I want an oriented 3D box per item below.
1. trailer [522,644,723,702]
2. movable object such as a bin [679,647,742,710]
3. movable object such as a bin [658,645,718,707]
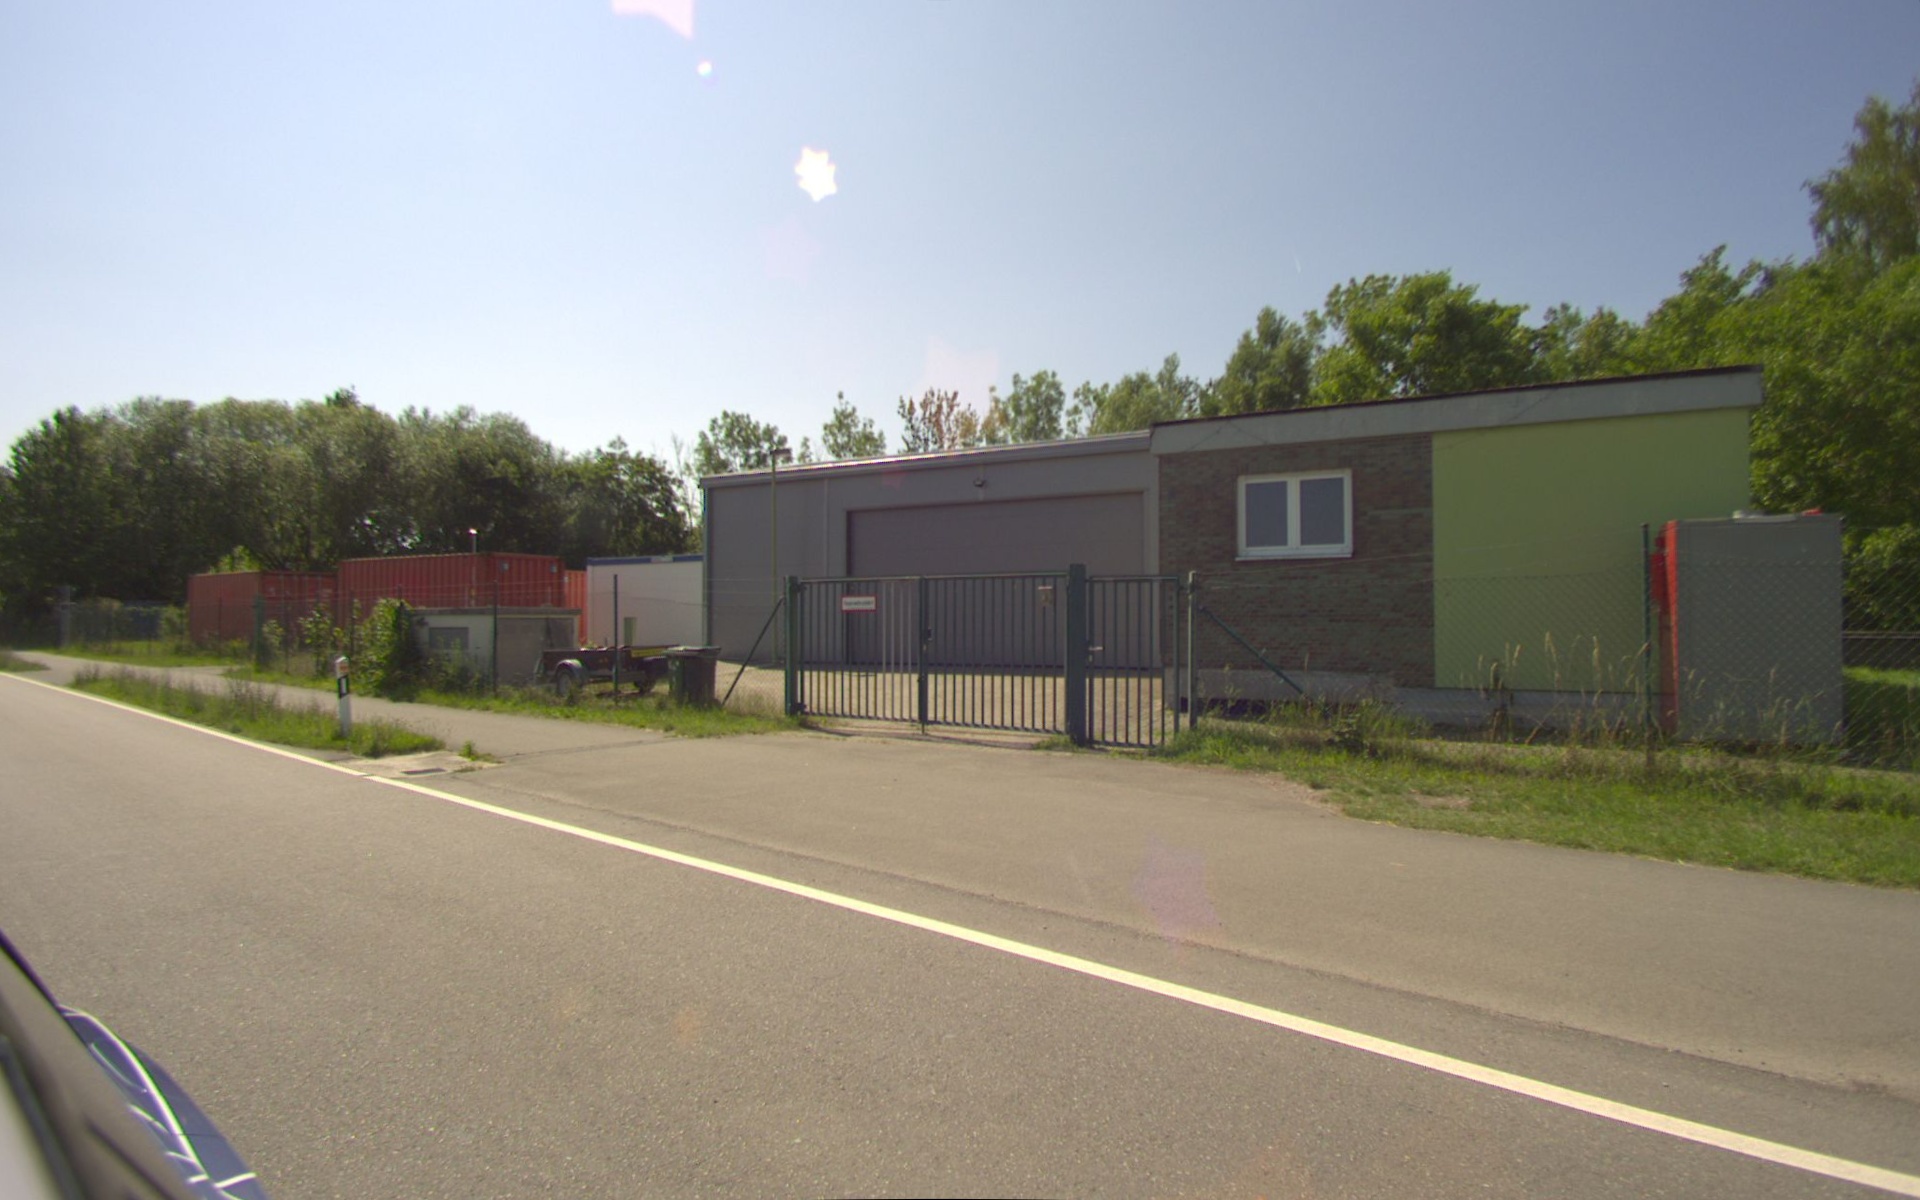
[{"bbox_3d":[-5.819,1.207,17.358,3.350,0.873,1.616,-1,-2,35],"label":"trailer"},{"bbox_3d":[-3.593,1.114,14.576,0.631,0.861,0.654,2,-3,-43],"label":"movable object such as a bin"},{"bbox_3d":[-4.054,1.116,15.079,0.631,0.882,0.654,2,-3,-43],"label":"movable object such as a bin"}]
